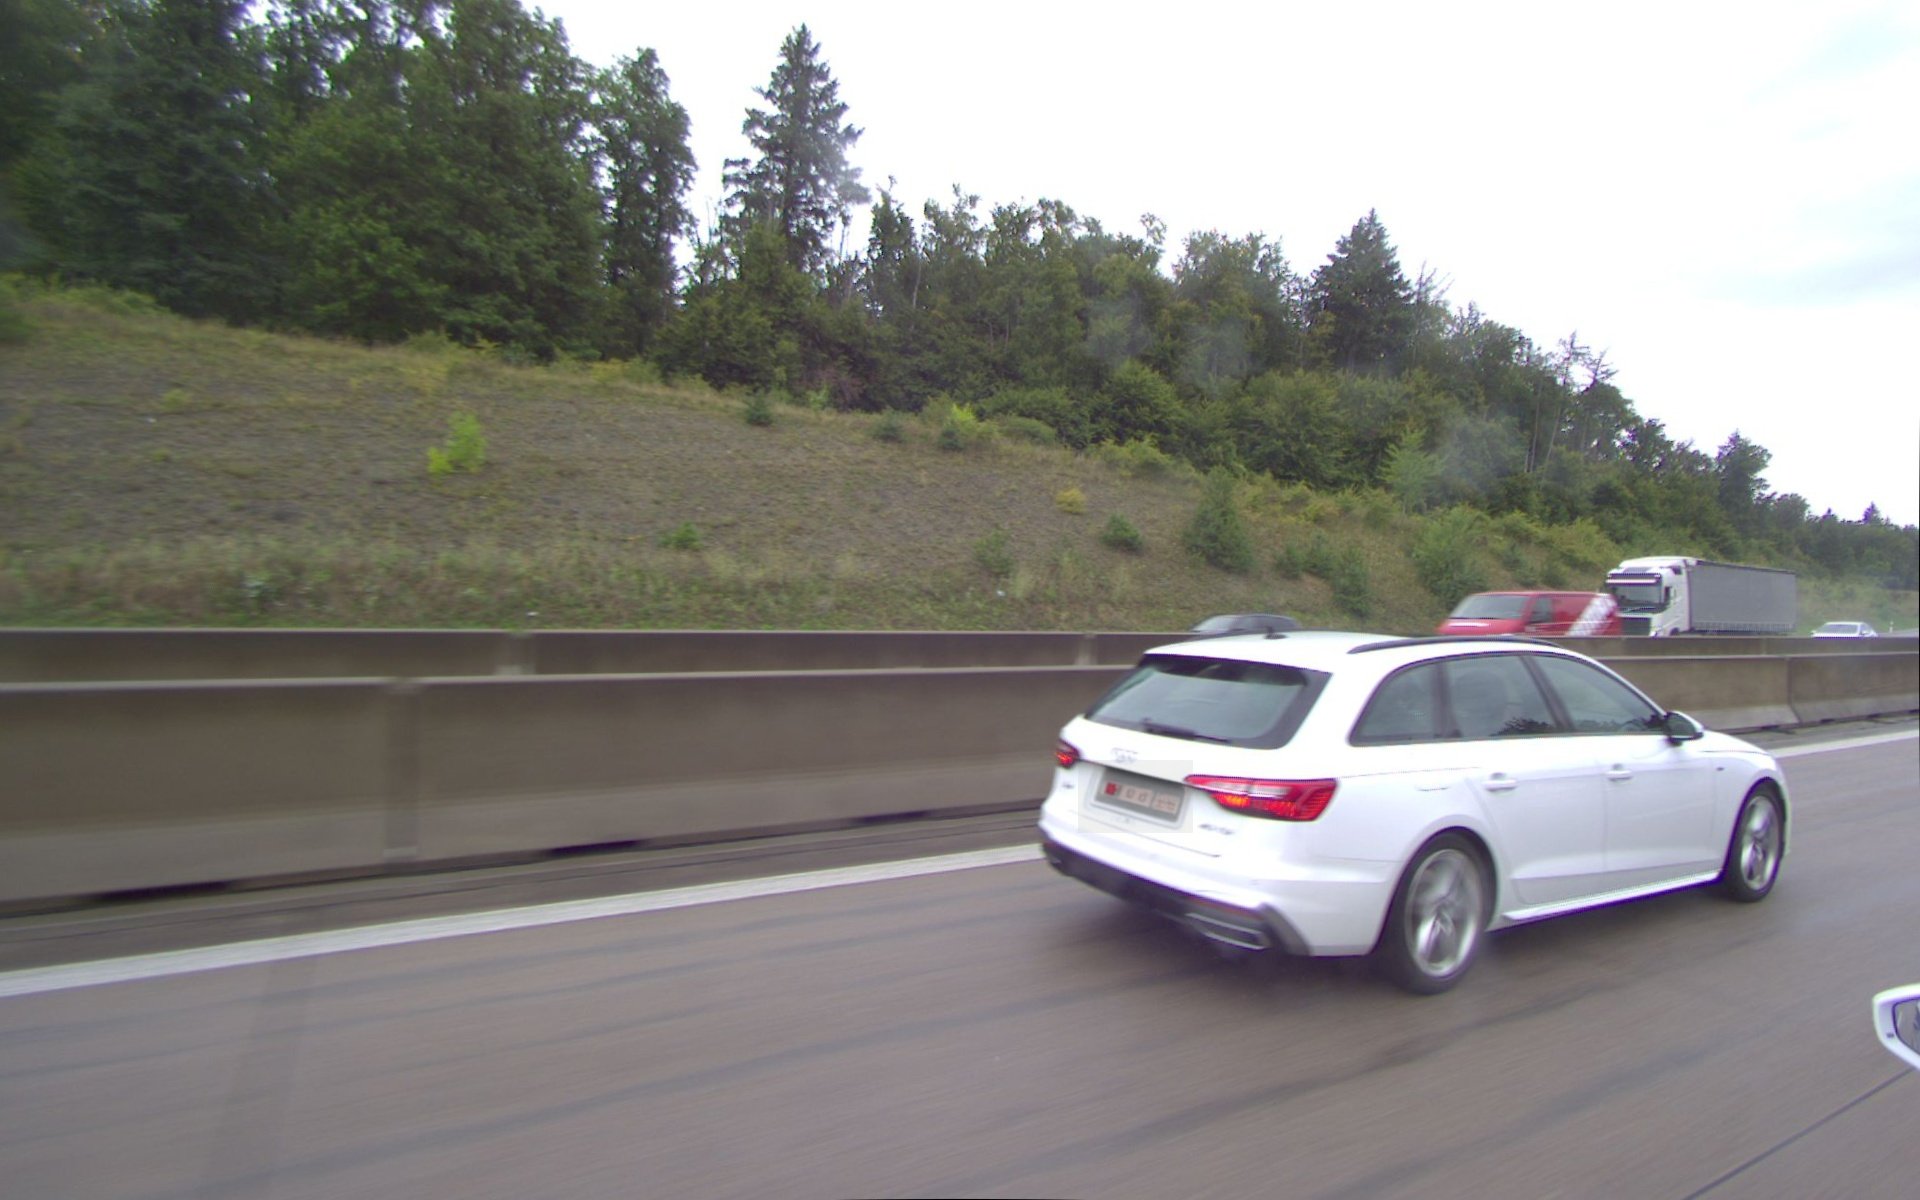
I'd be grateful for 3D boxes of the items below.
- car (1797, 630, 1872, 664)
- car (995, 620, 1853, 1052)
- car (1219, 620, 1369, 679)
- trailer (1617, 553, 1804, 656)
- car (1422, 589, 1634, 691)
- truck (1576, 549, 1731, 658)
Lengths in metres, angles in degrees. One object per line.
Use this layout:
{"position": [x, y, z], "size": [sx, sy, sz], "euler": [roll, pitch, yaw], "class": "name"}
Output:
{"position": [39.112, 2.070, 44.882], "size": [3.960, 1.411, 1.611], "euler": [1, -1, -35], "class": "car"}
{"position": [2.698, 0.868, 5.363], "size": [4.878, 1.425, 1.704], "euler": [2, -1, -31], "class": "car"}
{"position": [8.696, 1.251, 26.065], "size": [3.958, 1.411, 1.612], "euler": [1, -1, -34], "class": "car"}
{"position": [35.457, 0.327, 47.112], "size": [13.574, 4.341, 2.728], "euler": [1, -1, -34], "class": "trailer"}
{"position": [13.079, 0.882, 23.022], "size": [5.274, 2.110, 1.982], "euler": [1, -1, -33], "class": "car"}
{"position": [30.122, 0.214, 43.475], "size": [8.229, 4.341, 2.728], "euler": [1, -1, -34], "class": "truck"}
